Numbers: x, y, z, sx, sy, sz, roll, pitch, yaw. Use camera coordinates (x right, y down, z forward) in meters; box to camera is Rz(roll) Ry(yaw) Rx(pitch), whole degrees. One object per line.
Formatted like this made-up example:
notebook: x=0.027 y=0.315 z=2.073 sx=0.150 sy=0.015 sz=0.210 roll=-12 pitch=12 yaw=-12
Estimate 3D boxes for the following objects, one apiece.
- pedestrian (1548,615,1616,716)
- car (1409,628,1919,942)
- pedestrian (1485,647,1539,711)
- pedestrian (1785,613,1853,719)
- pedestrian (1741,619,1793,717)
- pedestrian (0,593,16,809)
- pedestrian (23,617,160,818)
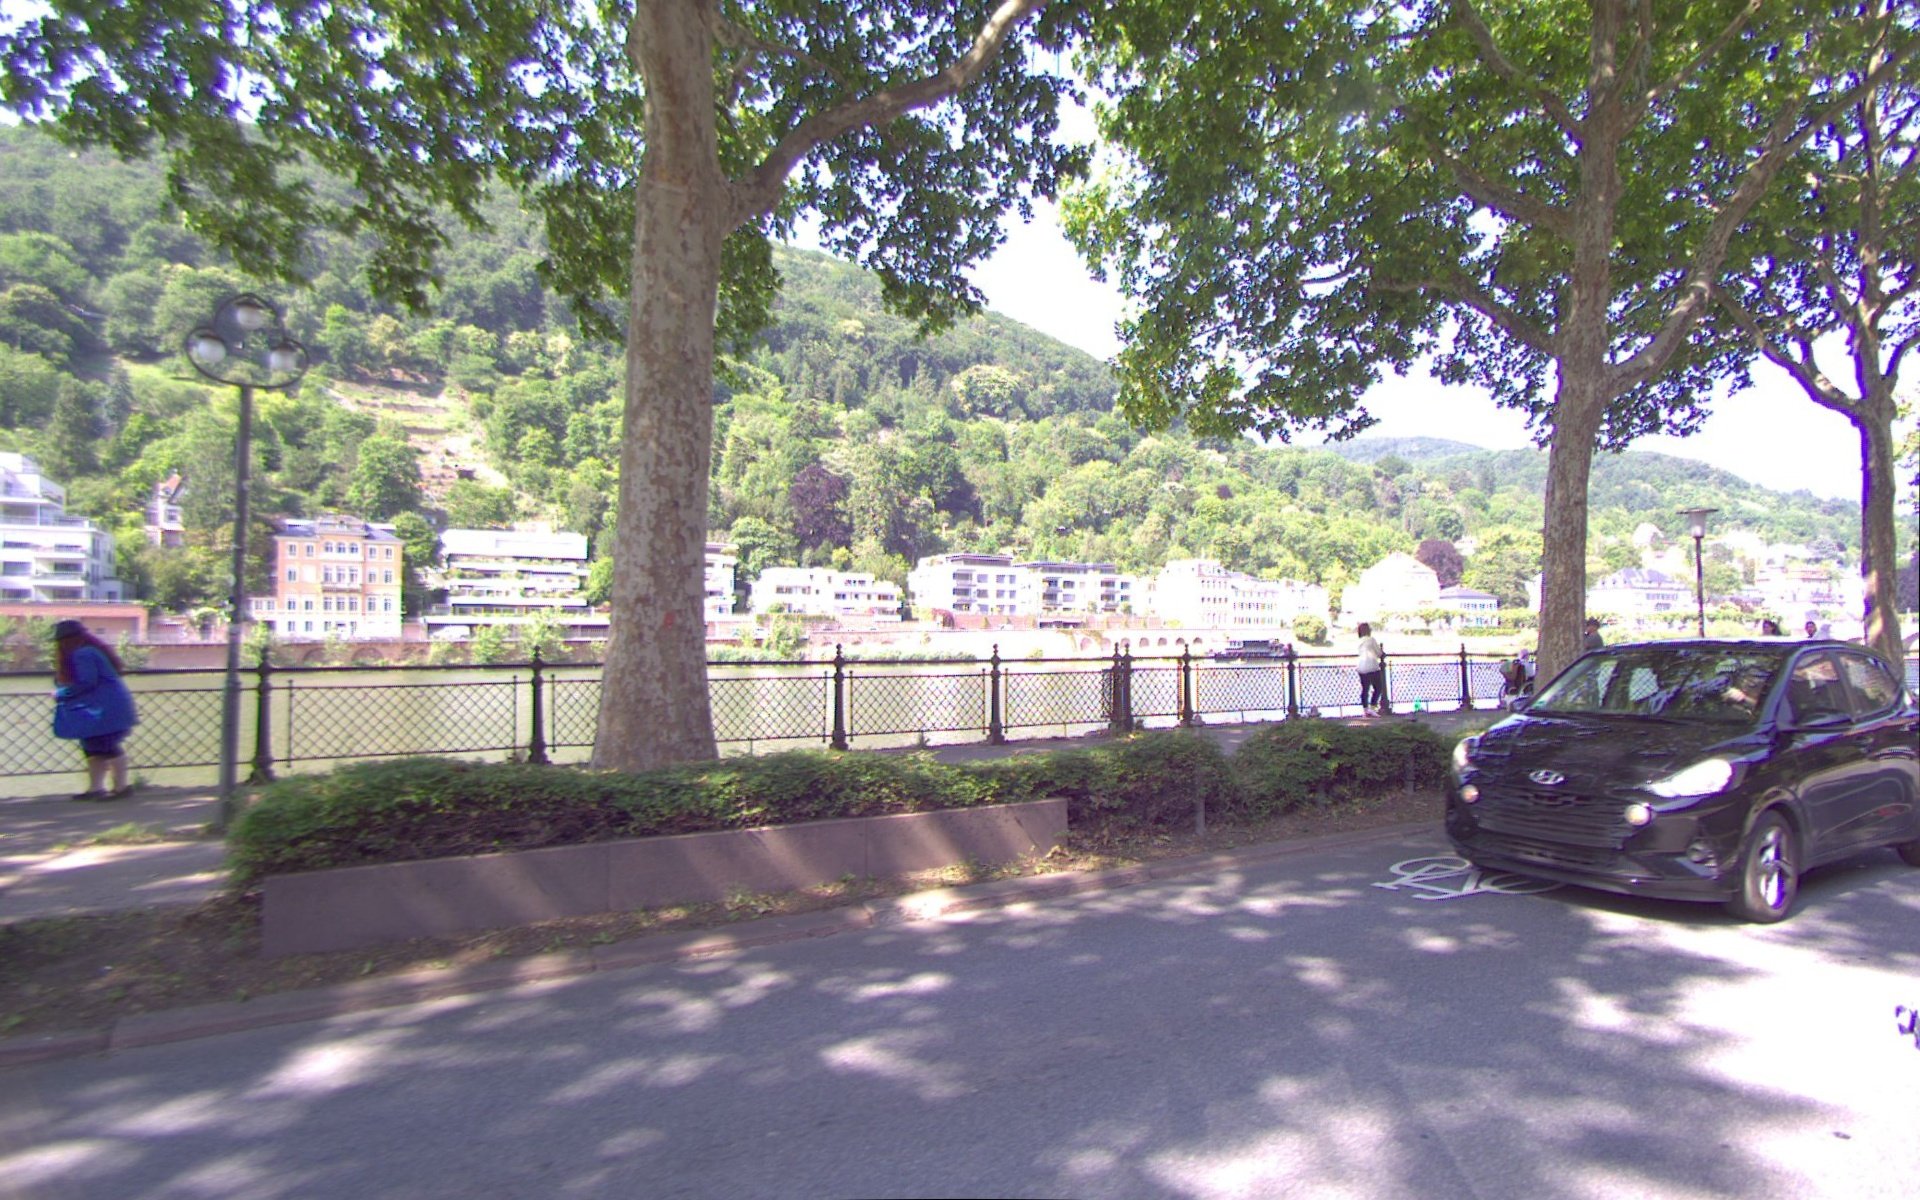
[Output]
pedestrian: x=11.132 y=1.159 z=17.981 sx=0.864 sy=1.740 sz=0.689 roll=1 pitch=0 yaw=-31
car: x=4.810 y=0.956 z=6.461 sx=3.735 sy=1.488 sz=1.642 roll=1 pitch=-3 yaw=-31
pedestrian: x=10.596 y=1.502 z=19.281 sx=0.686 sy=1.193 sz=0.607 roll=1 pitch=-3 yaw=-28
pedestrian: x=15.758 y=1.197 z=18.432 sx=0.796 sy=1.894 sz=0.638 roll=1 pitch=-3 yaw=-29
pedestrian: x=15.037 y=1.254 z=18.709 sx=0.585 sy=1.791 sz=0.515 roll=1 pitch=-3 yaw=-29
pedestrian: x=-8.040 y=0.810 z=7.892 sx=0.696 sy=1.753 sz=0.701 roll=1 pitch=-2 yaw=-28
pedestrian: x=-7.413 y=0.971 z=8.613 sx=0.696 sy=1.624 sz=0.701 roll=1 pitch=-2 yaw=-28
